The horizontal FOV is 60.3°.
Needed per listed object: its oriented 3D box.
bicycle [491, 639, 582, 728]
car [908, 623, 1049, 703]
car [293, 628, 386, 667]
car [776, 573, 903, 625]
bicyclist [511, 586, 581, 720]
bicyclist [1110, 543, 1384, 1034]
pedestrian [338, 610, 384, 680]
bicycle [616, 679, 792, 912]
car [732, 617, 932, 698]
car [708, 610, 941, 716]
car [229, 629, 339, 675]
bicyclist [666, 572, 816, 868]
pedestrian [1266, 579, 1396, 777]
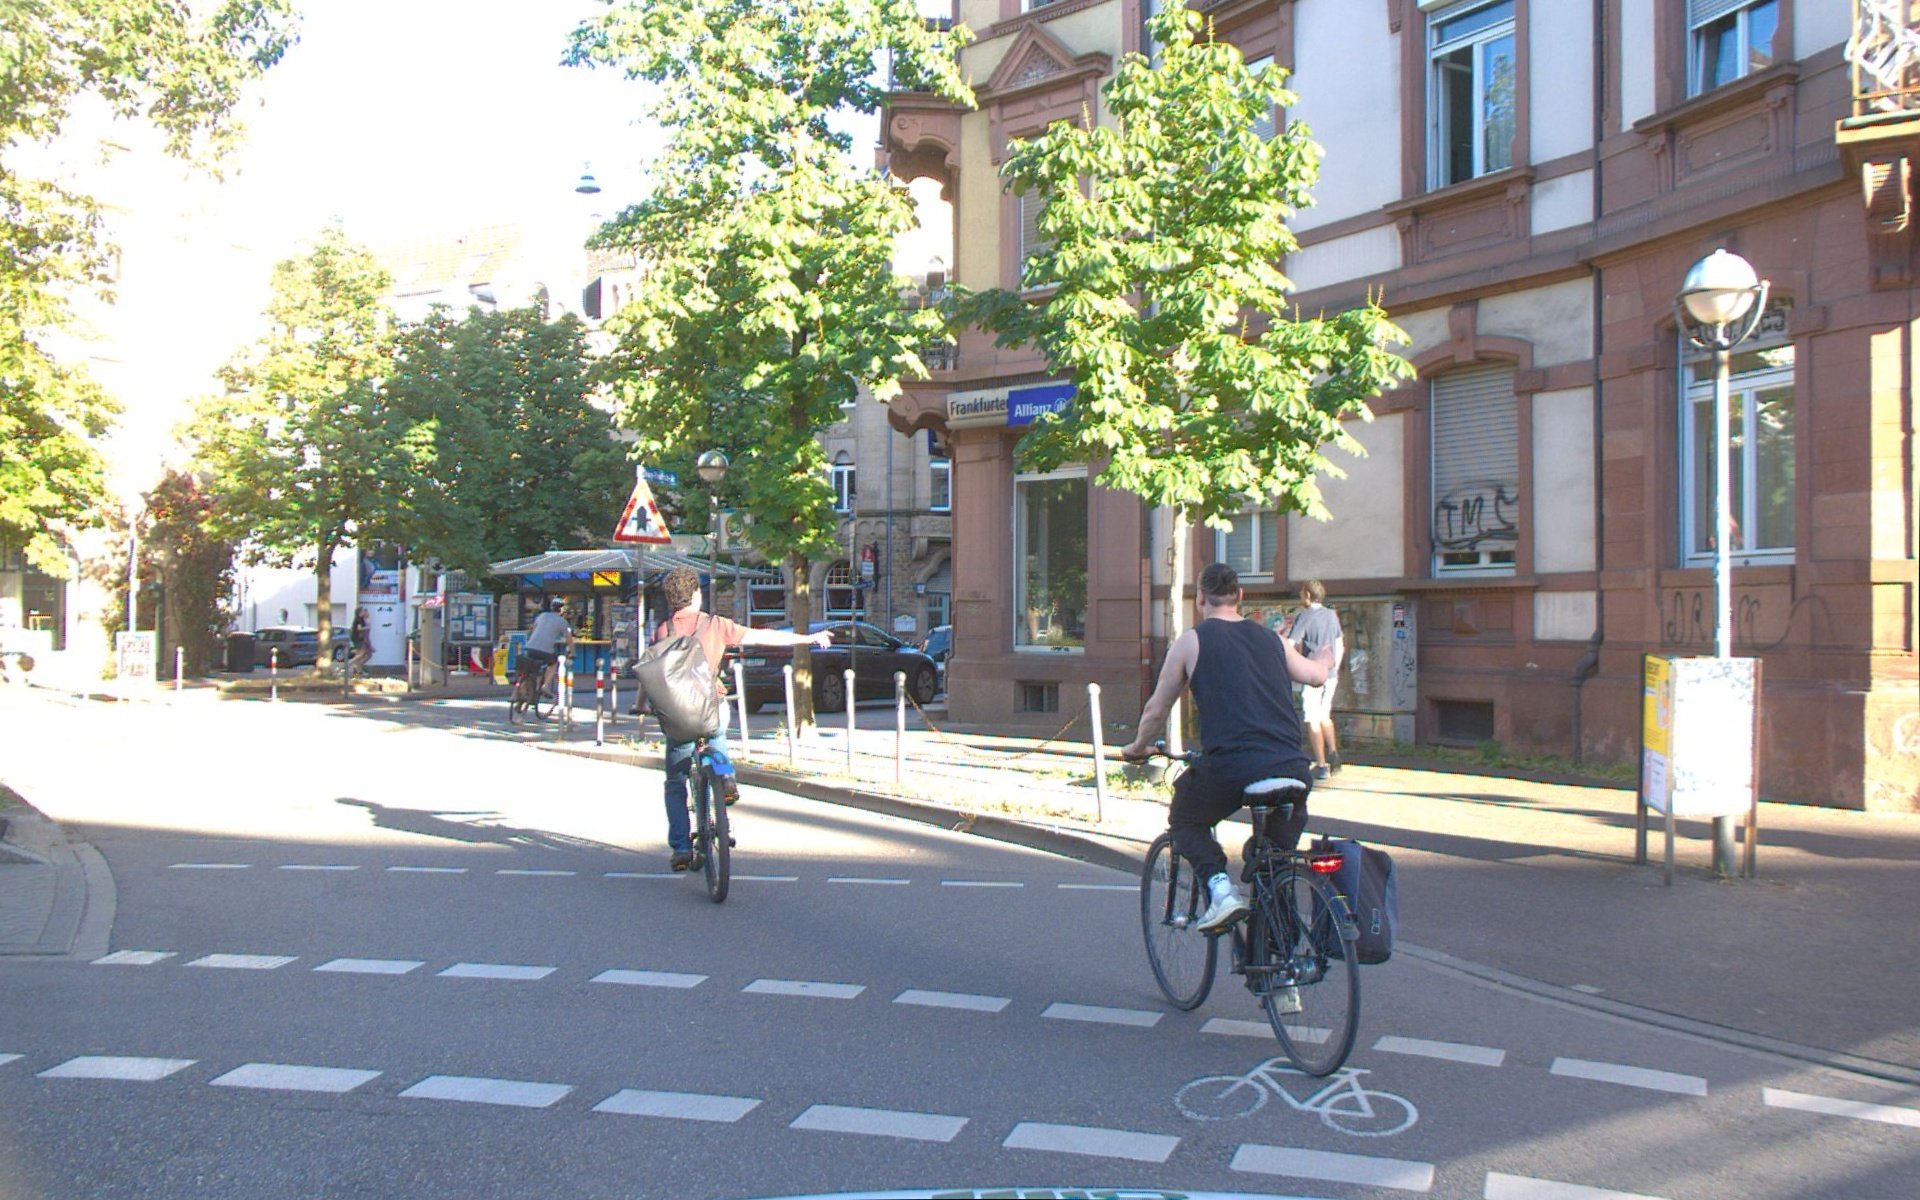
[{"bbox_3d":[-6.276,1.209,24.612,0.793,1.205,2.226,0,0,0],"label":"bicycle"},{"bbox_3d":[0.408,1.188,32.429,1.472,1.483,3.203,-1,-1,27],"label":"car"},{"bbox_3d":[-24.746,1.884,65.959,3.497,1.525,1.667,-1,-2,32],"label":"car"},{"bbox_3d":[-4.077,-0.008,55.664,3.912,1.676,1.875,-1,-1,30],"label":"car"},{"bbox_3d":[-6.145,0.779,24.581,0.778,1.947,0.944,1,-1,-1],"label":"bicyclist"},{"bbox_3d":[1.048,0.664,6.253,0.674,1.685,0.986,0,-3,-12],"label":"bicyclist"},{"bbox_3d":[-15.457,1.150,42.664,0.864,1.780,0.716,-1,-1,27],"label":"pedestrian"},{"bbox_3d":[-1.517,1.049,9.500,0.706,1.127,1.956,0,-1,-18],"label":"bicycle"},{"bbox_3d":[-2.585,1.146,33.827,3.825,1.569,1.768,1,-2,-42],"label":"car"},{"bbox_3d":[-2.201,1.017,28.043,1.758,1.639,4.360,-1,-1,31],"label":"car"},{"bbox_3d":[-23.064,1.765,56.454,3.494,1.525,1.668,-1,-2,30],"label":"car"},{"bbox_3d":[-1.276,0.655,9.519,0.696,1.601,0.952,0,-1,-18],"label":"bicyclist"},{"bbox_3d":[3.239,0.649,14.486,0.714,1.663,0.897,-1,1,-25],"label":"pedestrian"}]
